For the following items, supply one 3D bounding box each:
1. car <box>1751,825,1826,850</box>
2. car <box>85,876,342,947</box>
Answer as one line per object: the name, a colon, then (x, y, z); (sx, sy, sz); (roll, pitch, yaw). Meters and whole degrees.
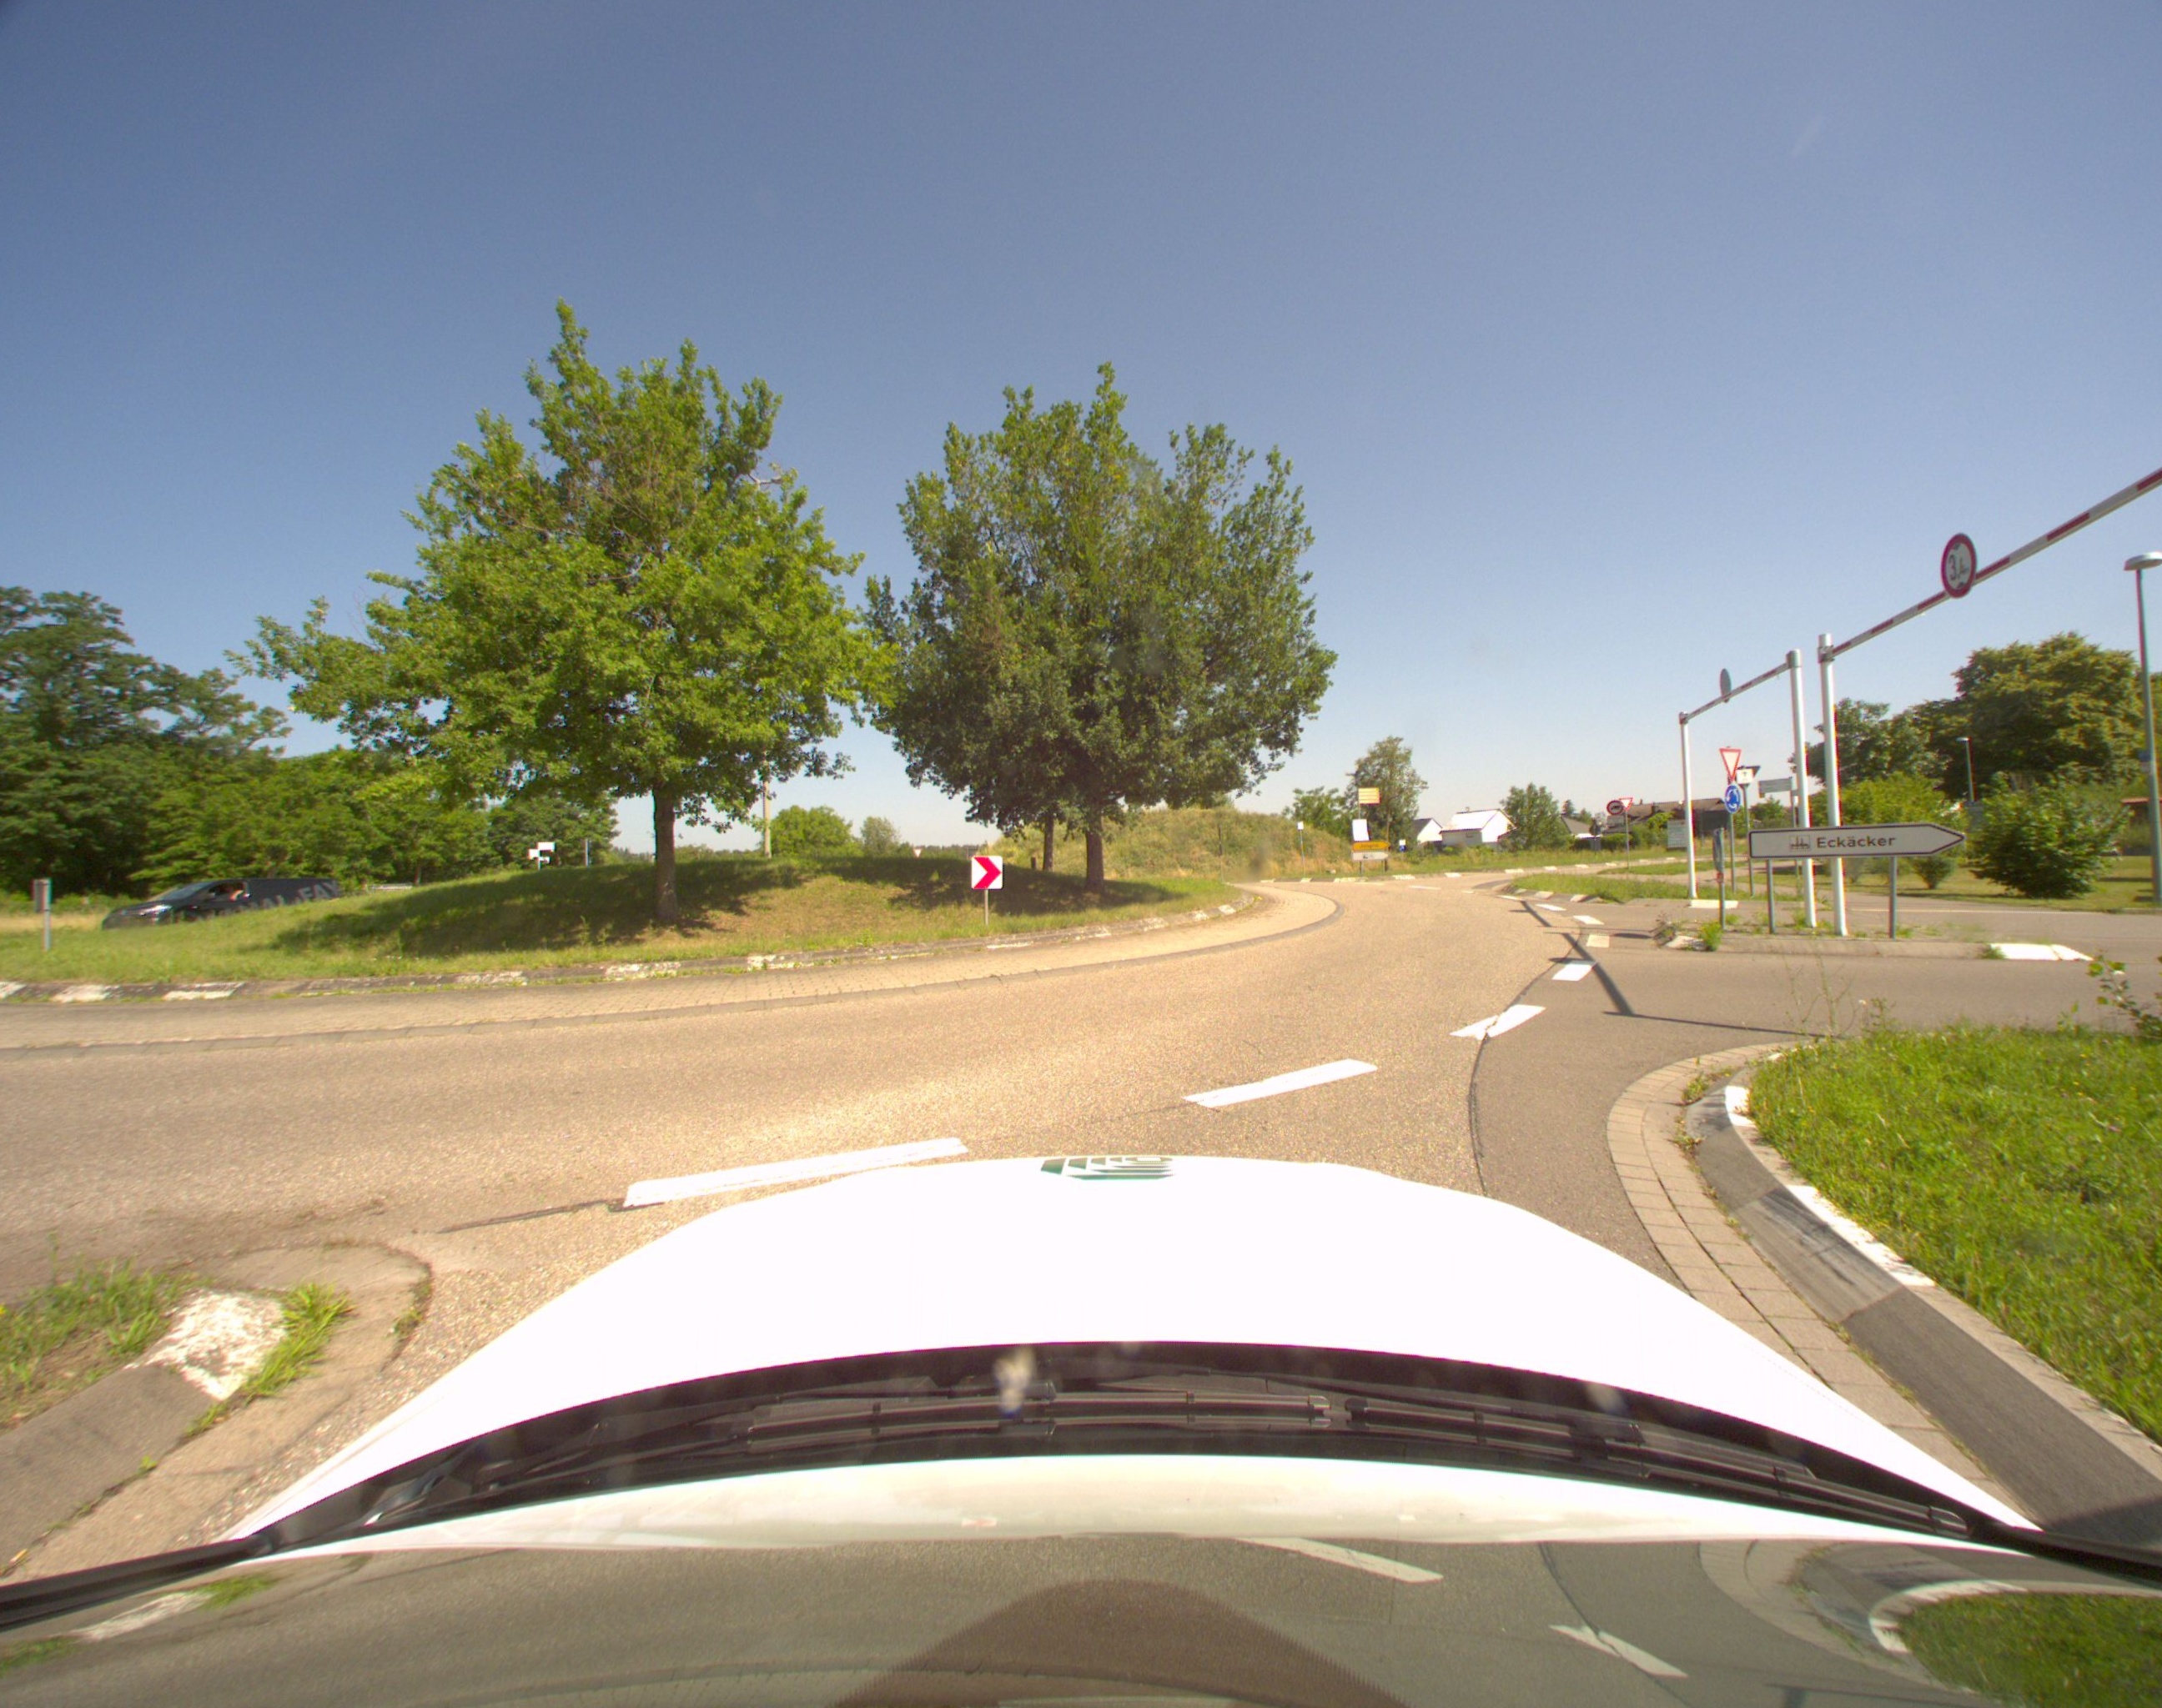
car: (48.334, -1.152, 55.642); (4.920, 1.434, 1.907); (-2, -4, -25)
car: (-25.293, 1.603, 24.053); (2.081, 1.714, 4.734); (-2, 0, 12)
